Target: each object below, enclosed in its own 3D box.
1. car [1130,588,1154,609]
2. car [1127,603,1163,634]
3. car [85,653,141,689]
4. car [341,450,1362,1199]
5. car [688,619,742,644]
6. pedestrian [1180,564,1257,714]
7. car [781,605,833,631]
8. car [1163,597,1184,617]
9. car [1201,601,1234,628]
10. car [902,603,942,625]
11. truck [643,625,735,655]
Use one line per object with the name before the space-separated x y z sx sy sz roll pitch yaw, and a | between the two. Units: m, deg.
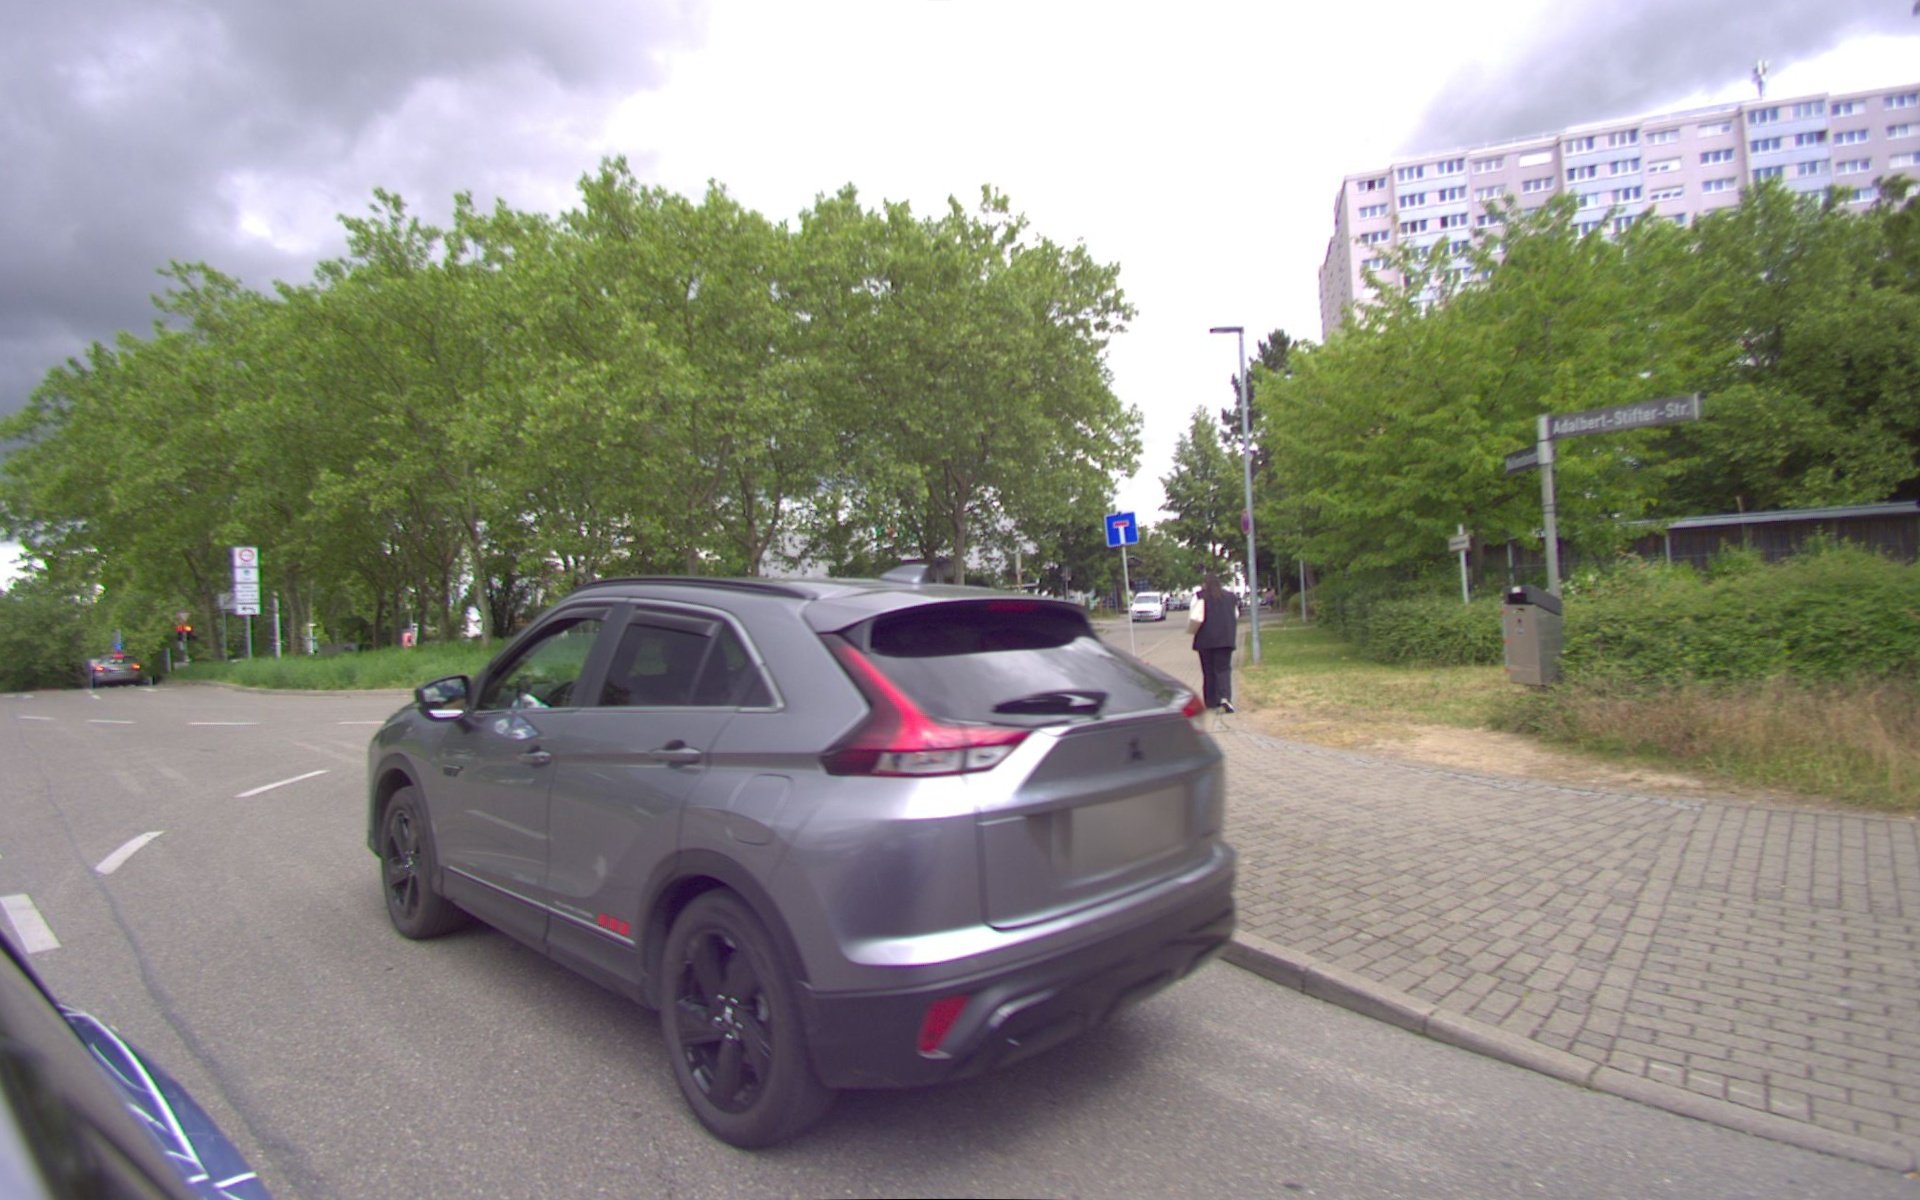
car | 16.255 -0.134 90.393 1.765 1.785 3.980 -2 -1 15
car | 11.091 1.071 60.619 1.765 1.785 3.980 -2 -1 15
car | -40.537 3.349 48.427 1.734 1.527 4.002 -1 -1 -45
car | -0.801 0.638 4.157 4.168 1.595 1.875 -3 -7 43
car | -15.606 1.973 64.720 1.639 1.475 3.980 -2 -1 15
pedestrian | 2.941 0.441 11.517 0.713 1.623 0.631 -4 -2 16
car | -9.320 1.095 61.819 1.639 1.475 3.980 -2 -1 15
car | 20.909 0.681 98.932 1.765 1.785 3.980 -2 -1 15
car | 14.910 0.816 58.506 1.765 1.498 3.657 -2 -1 15
car | -2.579 0.947 70.114 1.639 1.475 3.980 -2 -1 15
truck | -23.090 3.392 86.551 7.406 2.230 2.085 -1 -1 -41
